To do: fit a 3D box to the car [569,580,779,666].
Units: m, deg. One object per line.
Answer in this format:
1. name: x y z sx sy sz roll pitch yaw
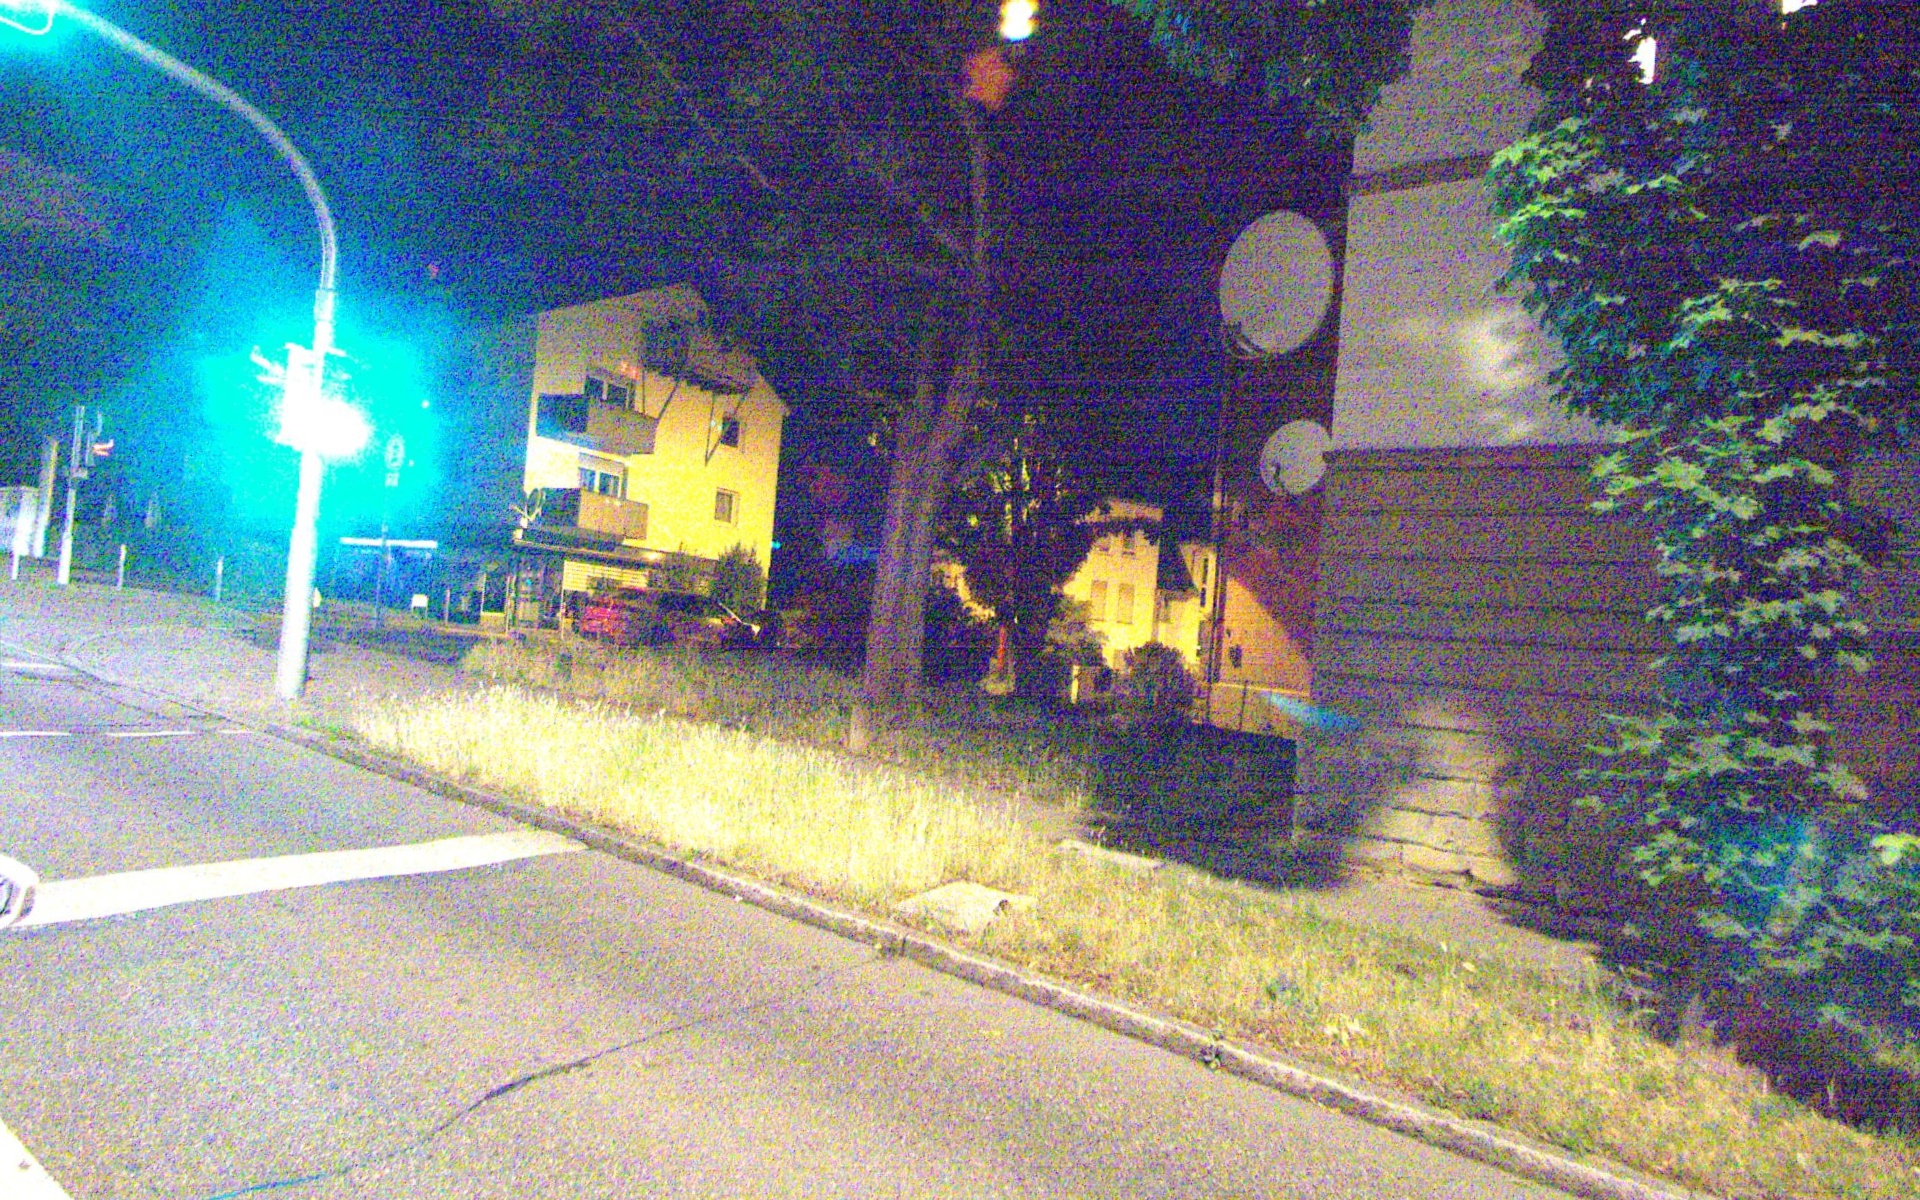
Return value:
1. car: -6.500 0.585 23.289 1.778 1.577 4.366 3 -3 38
